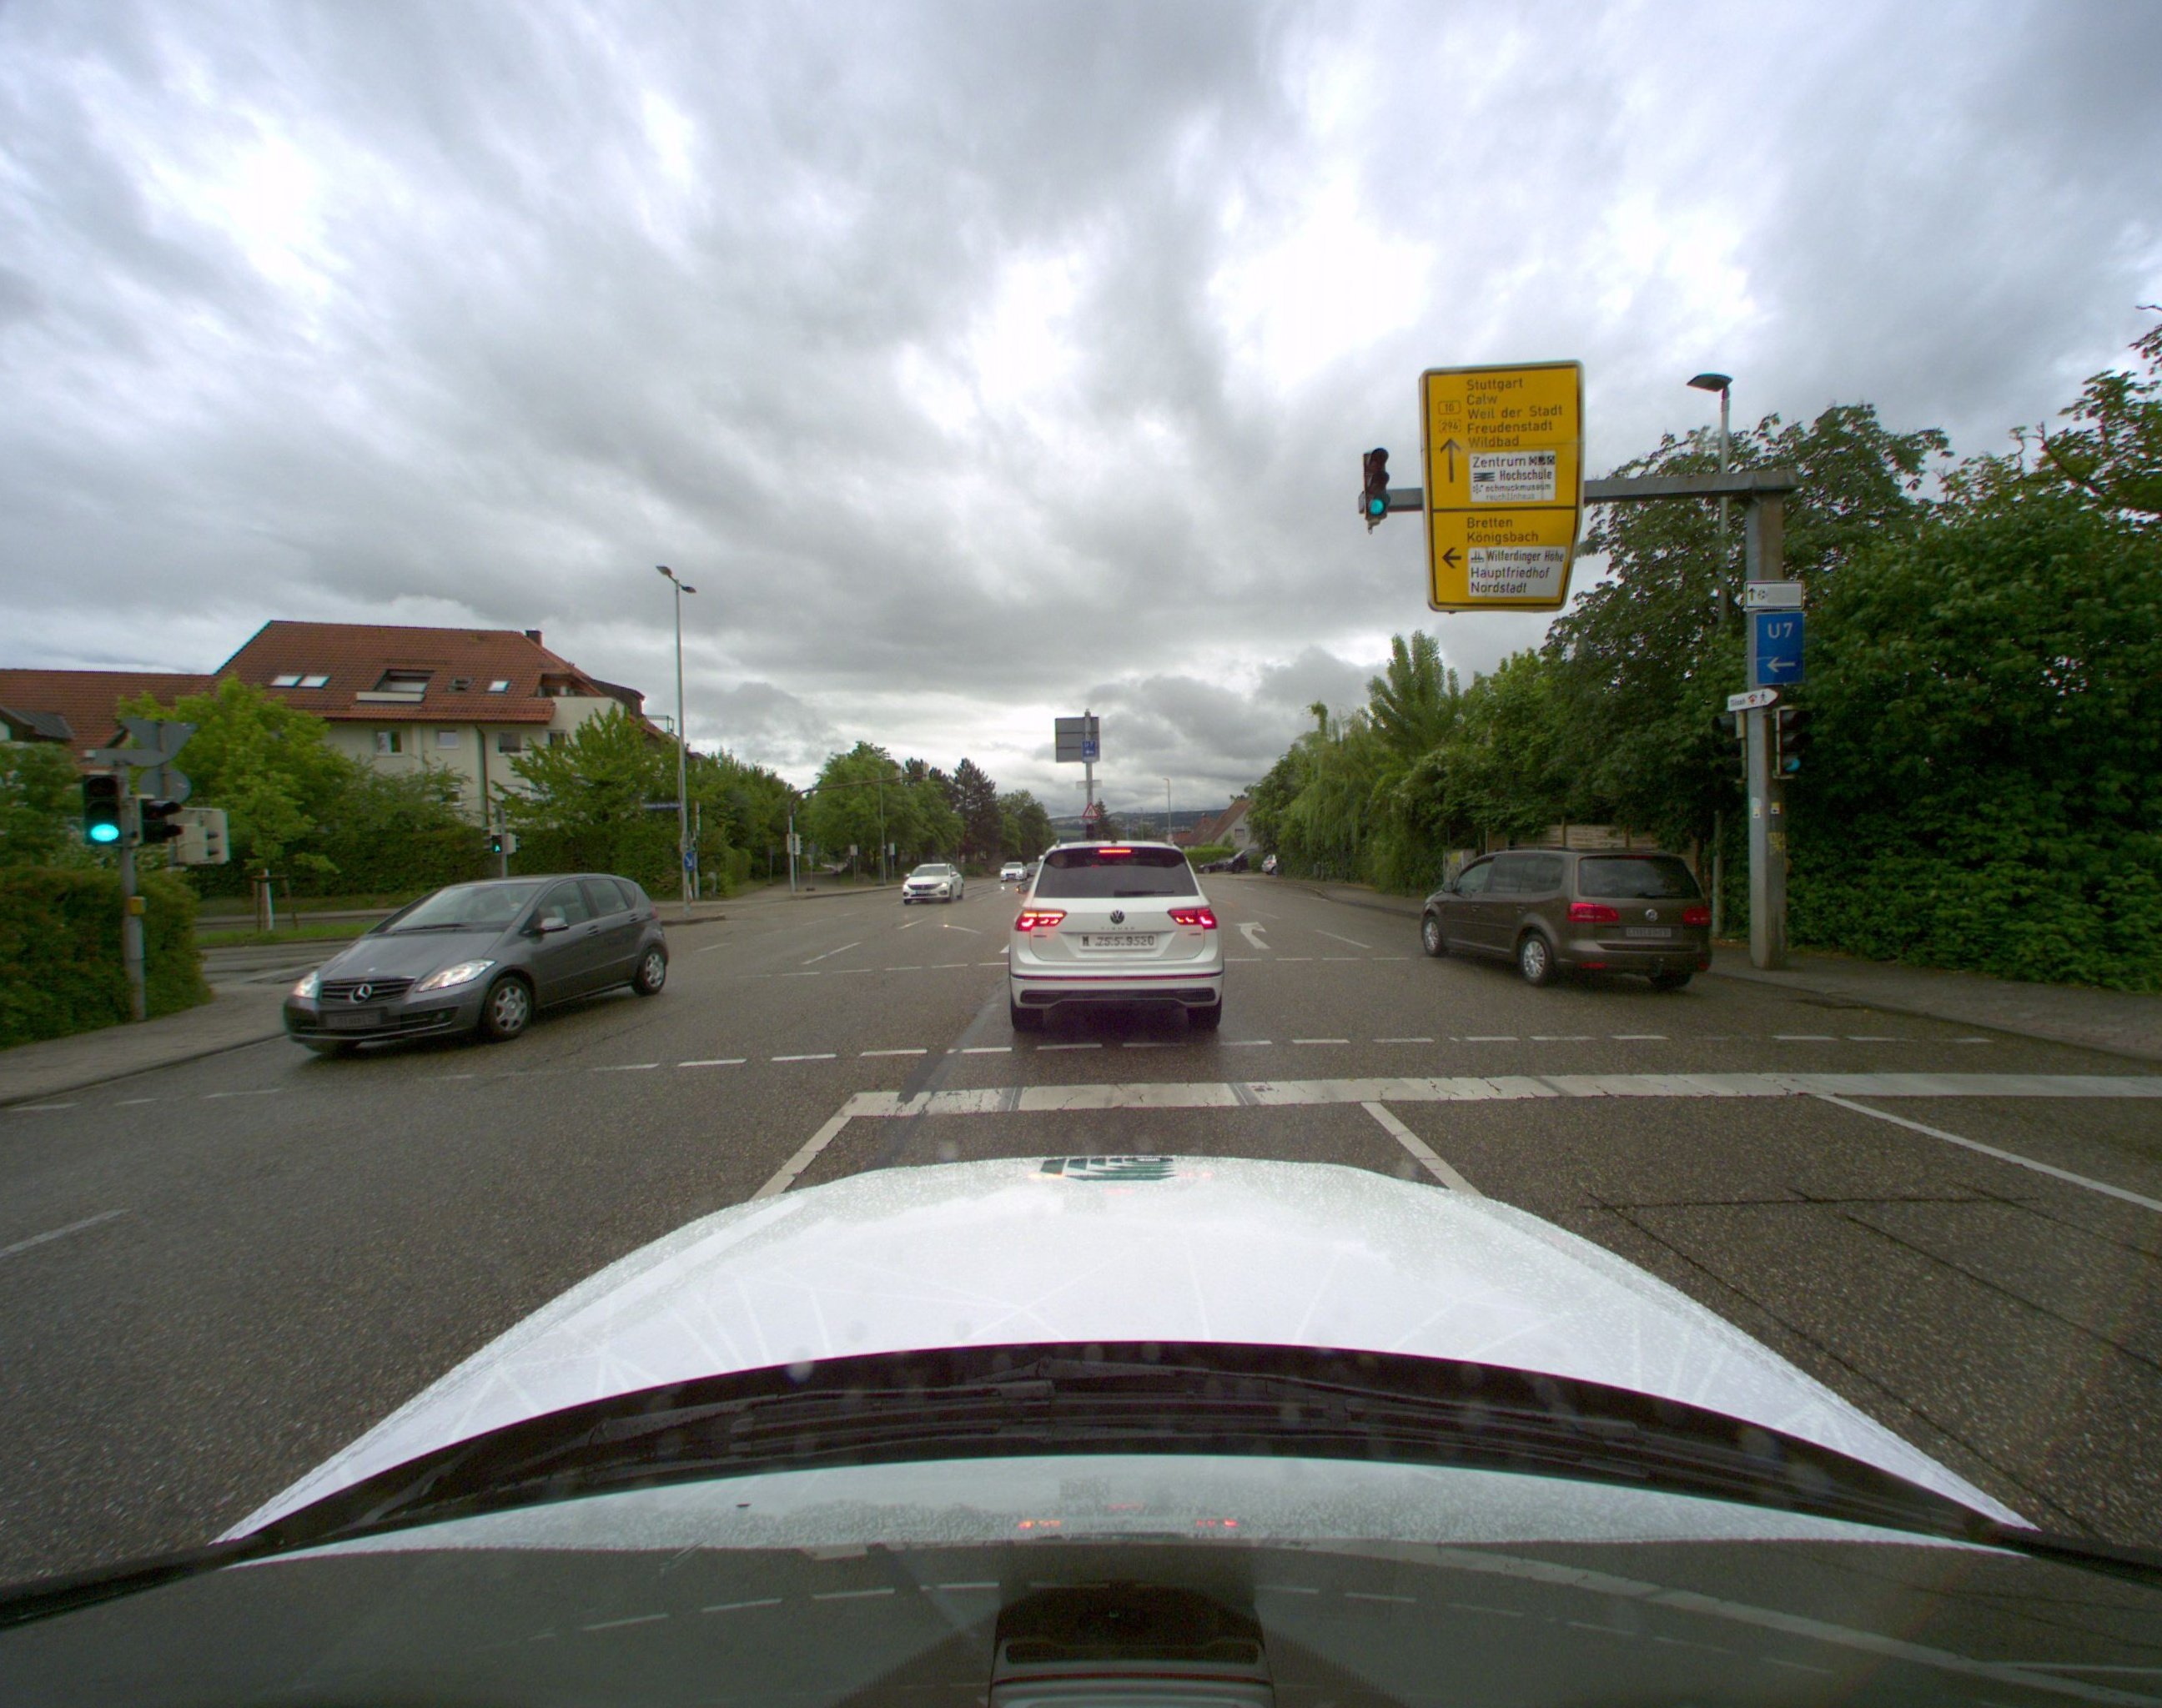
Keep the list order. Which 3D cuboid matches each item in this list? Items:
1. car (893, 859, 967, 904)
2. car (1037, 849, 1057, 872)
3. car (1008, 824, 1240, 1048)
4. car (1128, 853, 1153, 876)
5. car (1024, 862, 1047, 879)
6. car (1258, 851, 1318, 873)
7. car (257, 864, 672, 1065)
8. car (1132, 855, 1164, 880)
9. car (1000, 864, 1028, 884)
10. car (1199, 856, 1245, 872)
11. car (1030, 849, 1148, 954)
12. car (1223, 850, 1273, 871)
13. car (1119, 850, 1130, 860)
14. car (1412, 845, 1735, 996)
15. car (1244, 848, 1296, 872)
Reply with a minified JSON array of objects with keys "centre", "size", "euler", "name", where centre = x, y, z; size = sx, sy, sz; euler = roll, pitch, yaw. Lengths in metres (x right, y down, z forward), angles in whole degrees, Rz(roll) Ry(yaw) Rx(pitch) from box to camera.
[{"centre":[-5.794,1.028,31.835],"size":[1.961,1.454,4.309],"euler":[-2,1,1],"name":"car"},{"centre":[-4.129,0.761,98.630],"size":[2.292,2.528,5.768],"euler":[-2,0,-2],"name":"car"},{"centre":[0.367,0.624,8.356],"size":[1.756,1.696,4.273],"euler":[1,0,1],"name":"car"},{"centre":[4.610,0.798,63.666],"size":[1.706,1.758,3.802],"euler":[-2,0,1],"name":"car"},{"centre":[-4.301,1.515,77.370],"size":[1.770,1.502,4.472],"euler":[-2,0,1],"name":"car"},{"centre":[14.511,0.580,57.183],"size":[3.708,1.395,1.725],"euler":[-2,-1,-6],"name":"car"},{"centre":[-6.228,0.978,8.824],"size":[1.694,1.599,3.549],"euler":[-3,0,0],"name":"car"},{"centre":[4.049,0.773,49.778],"size":[1.675,1.460,3.802],"euler":[0,0,1],"name":"car"},{"centre":[-5.047,1.468,61.800],"size":[1.740,1.397,3.801],"euler":[-2,0,0],"name":"car"},{"centre":[12.114,0.864,69.894],"size":[3.675,1.370,1.518],"euler":[-1,-2,0],"name":"car"},{"centre":[0.196,0.737,14.463],"size":[1.791,1.589,3.928],"euler":[-1,0,2],"name":"car"},{"centre":[13.327,0.506,64.989],"size":[3.618,1.626,1.790],"euler":[-1,0,-3],"name":"car"},{"centre":[7.767,0.193,146.852],"size":[1.843,1.574,4.002],"euler":[-2,0,2],"name":"car"},{"centre":[5.982,0.692,10.557],"size":[1.730,1.575,4.067],"euler":[0,0,0],"name":"car"},{"centre":[14.489,0.428,62.556],"size":[3.618,1.746,1.706],"euler":[-1,0,-2],"name":"car"}]
